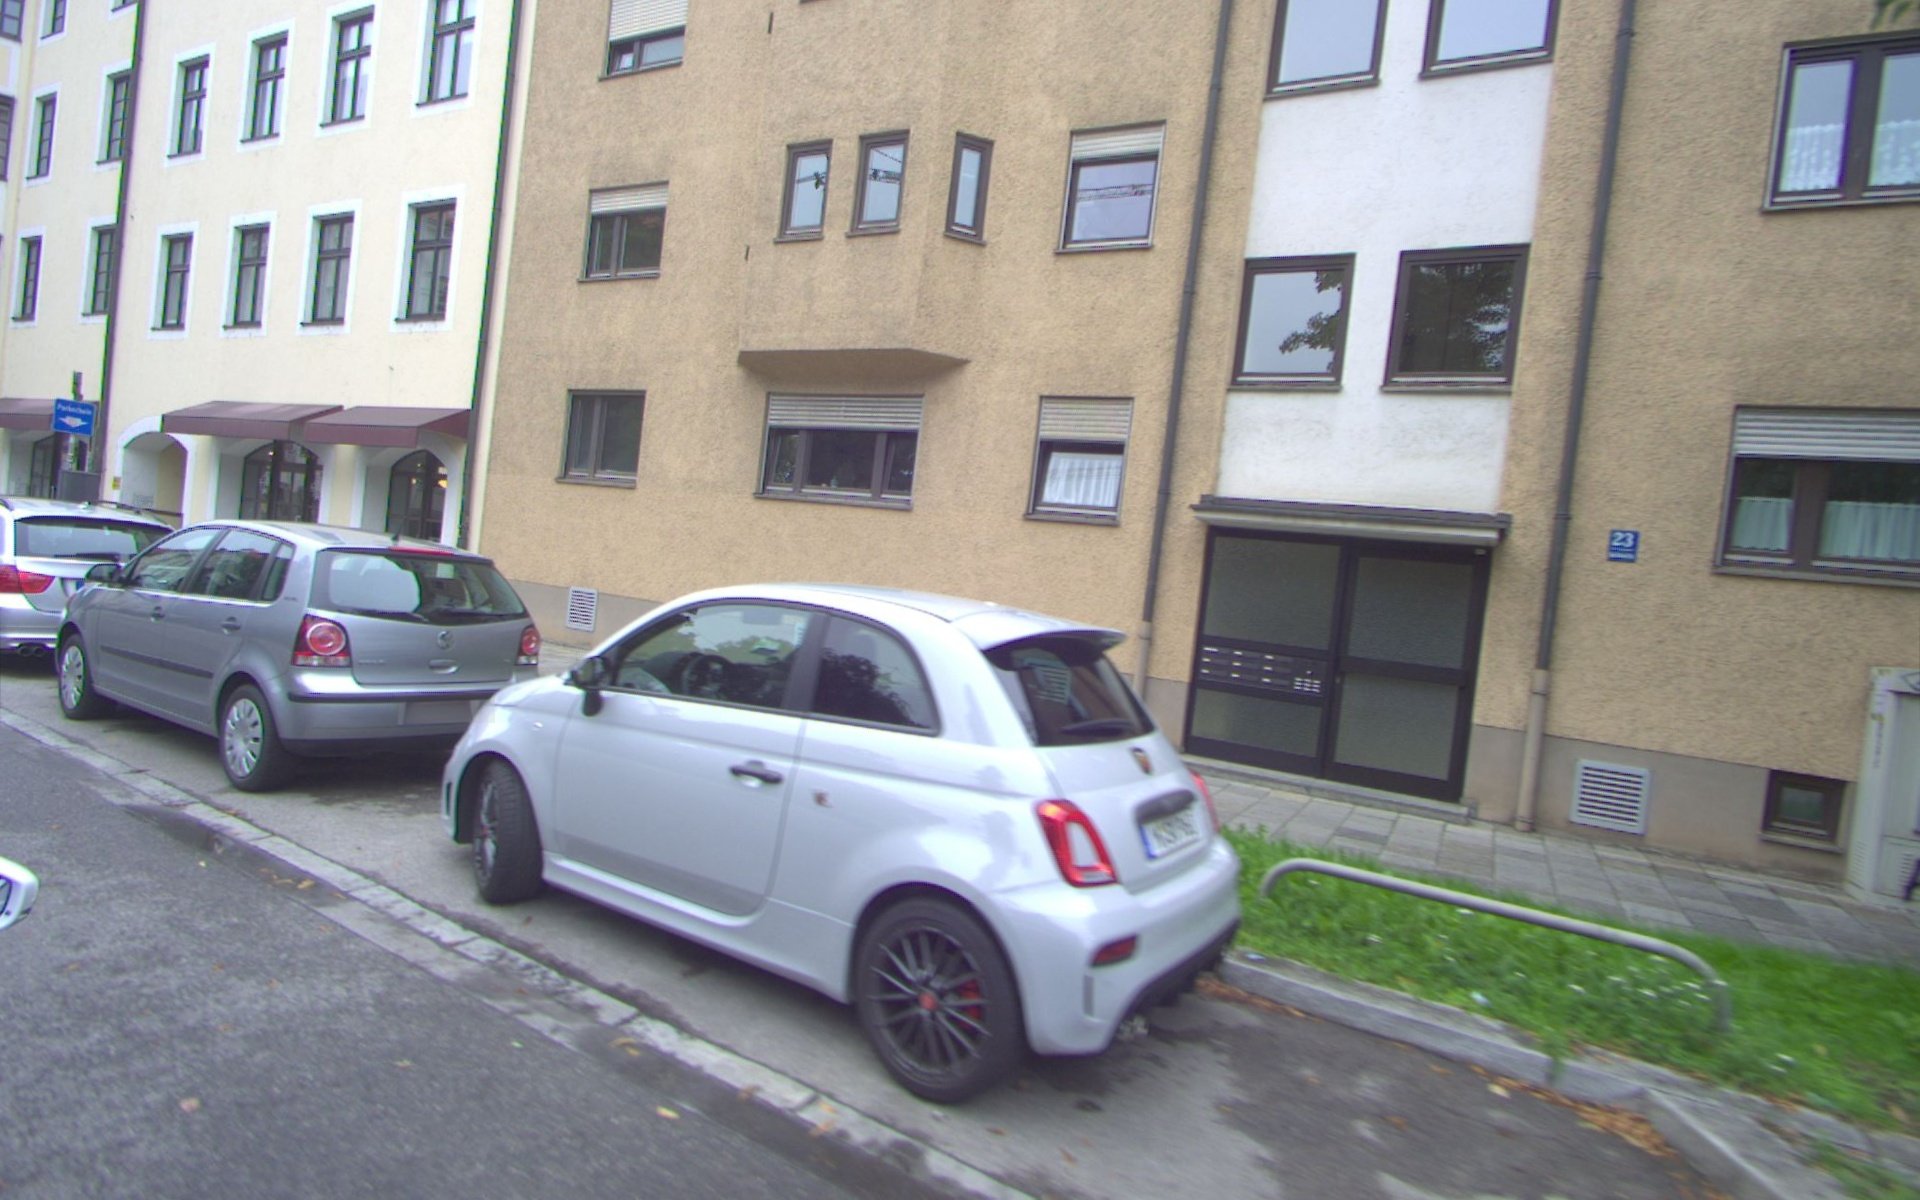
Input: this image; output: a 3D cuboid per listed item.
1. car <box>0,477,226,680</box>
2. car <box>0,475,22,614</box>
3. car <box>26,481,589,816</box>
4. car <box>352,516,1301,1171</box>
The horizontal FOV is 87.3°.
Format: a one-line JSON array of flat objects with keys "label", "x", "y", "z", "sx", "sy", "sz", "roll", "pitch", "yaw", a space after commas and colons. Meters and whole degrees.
[{"label": "car", "x": -8.736, "y": -0.355, "z": 9.212, "sx": 4.360, "sy": 1.516, "sz": 1.691, "roll": 7, "pitch": 2, "yaw": 32}, {"label": "car", "x": -12.762, "y": -0.860, "z": 11.568, "sx": 4.413, "sy": 1.516, "sz": 1.757, "roll": 7, "pitch": 2, "yaw": 32}, {"label": "car", "x": -4.406, "y": 0.160, "z": 6.654, "sx": 3.724, "sy": 1.516, "sz": 1.628, "roll": 7, "pitch": 2, "yaw": 32}, {"label": "car", "x": -0.726, "y": 0.596, "z": 4.320, "sx": 3.757, "sy": 1.516, "sz": 1.628, "roll": 7, "pitch": 2, "yaw": 32}]
